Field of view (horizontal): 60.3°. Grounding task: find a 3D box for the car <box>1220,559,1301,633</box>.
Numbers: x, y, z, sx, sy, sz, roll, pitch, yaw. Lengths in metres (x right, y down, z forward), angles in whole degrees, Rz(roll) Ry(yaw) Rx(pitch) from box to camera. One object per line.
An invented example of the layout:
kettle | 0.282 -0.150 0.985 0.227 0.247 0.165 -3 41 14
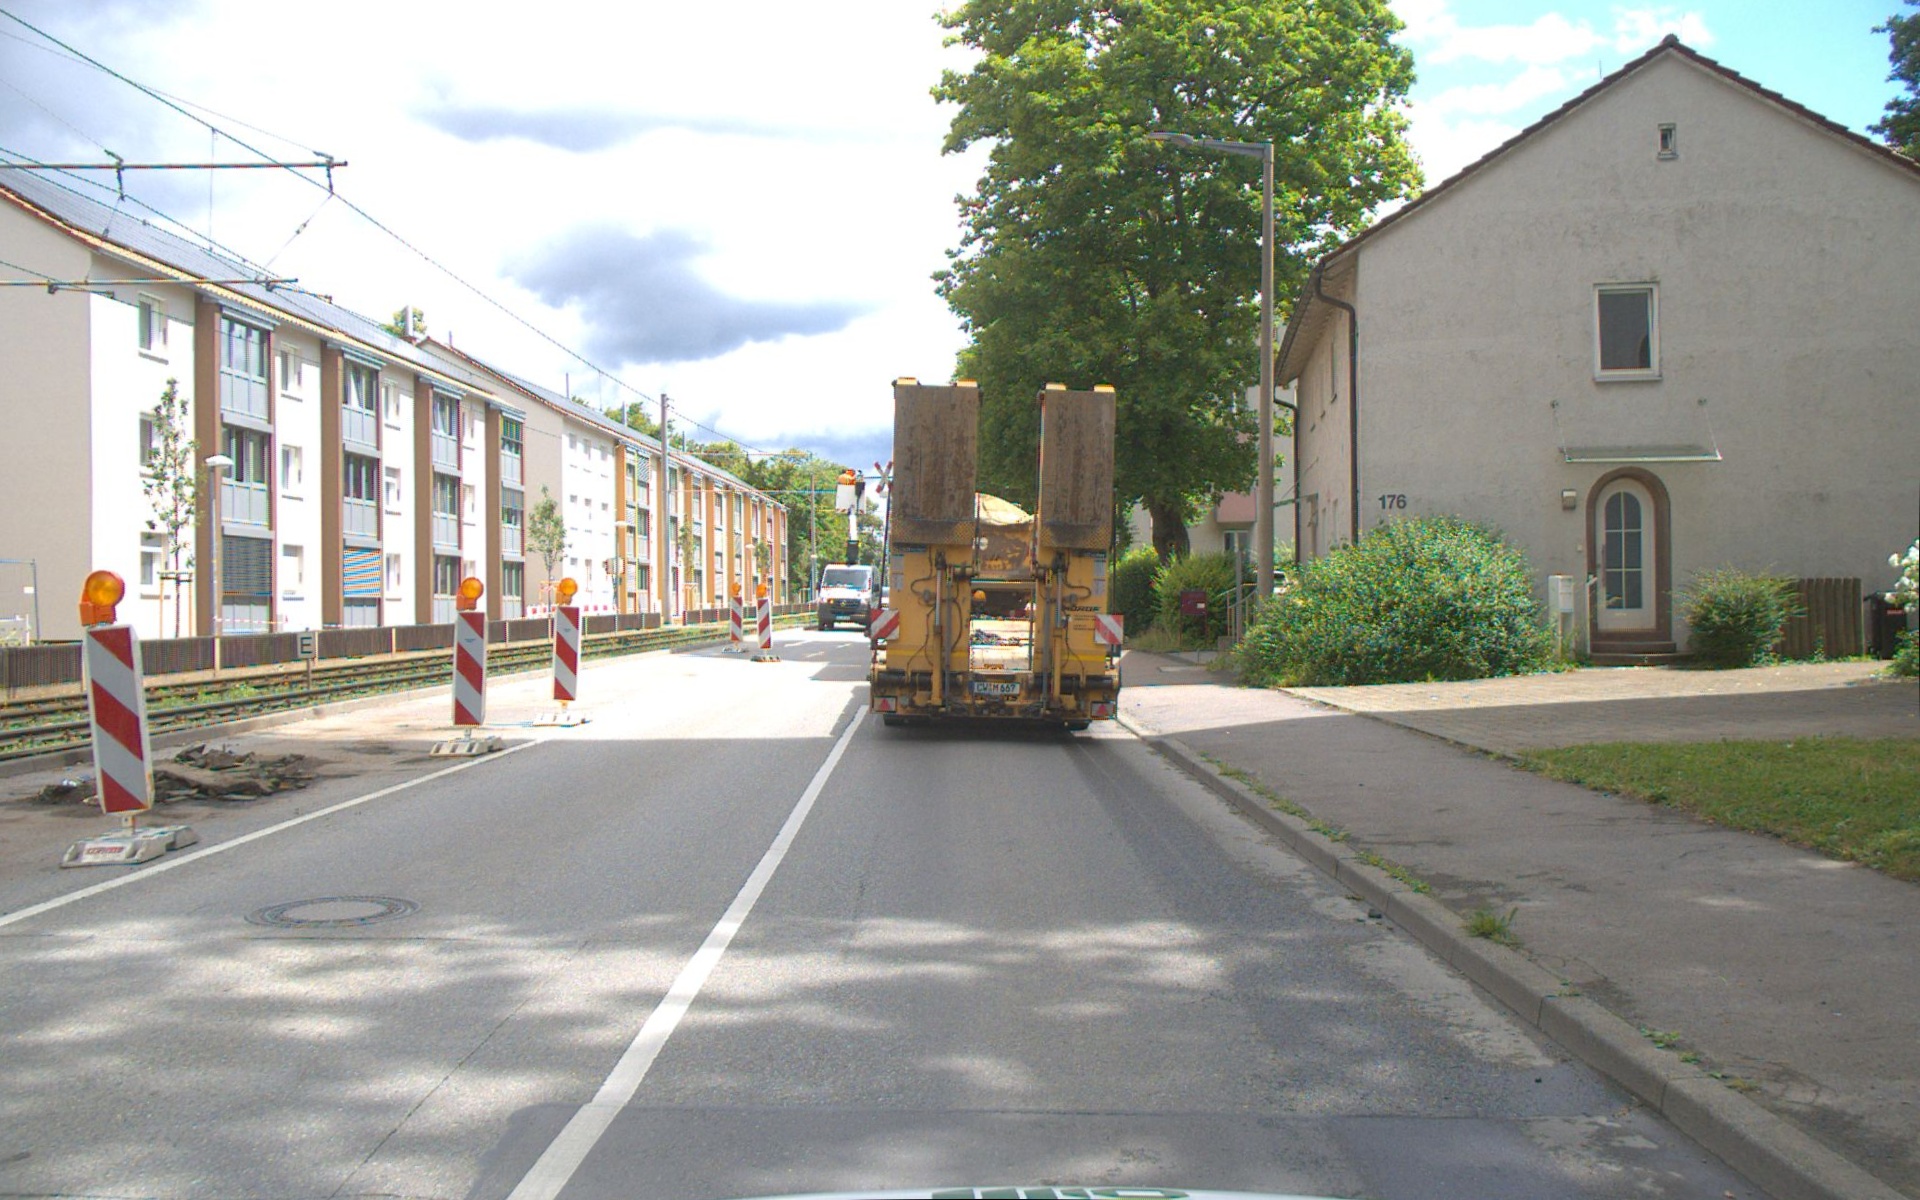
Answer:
car | 7.345 -0.085 40.668 1.773 1.678 4.003 -2 0 8

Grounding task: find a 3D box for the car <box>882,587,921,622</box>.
car | -2.712 0.206 77.193 1.683 1.579 3.917 1 0 0

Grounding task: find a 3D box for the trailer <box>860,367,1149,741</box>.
trailer | 0.280 -0.472 21.655 2.766 3.585 11.048 1 0 -2

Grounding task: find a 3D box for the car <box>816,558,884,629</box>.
car | -3.984 -0.247 60.697 1.952 2.473 6.322 1 0 1

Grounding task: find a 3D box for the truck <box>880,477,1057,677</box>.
truck | 0.010 -0.397 31.011 2.858 3.222 7.677 1 0 -2
